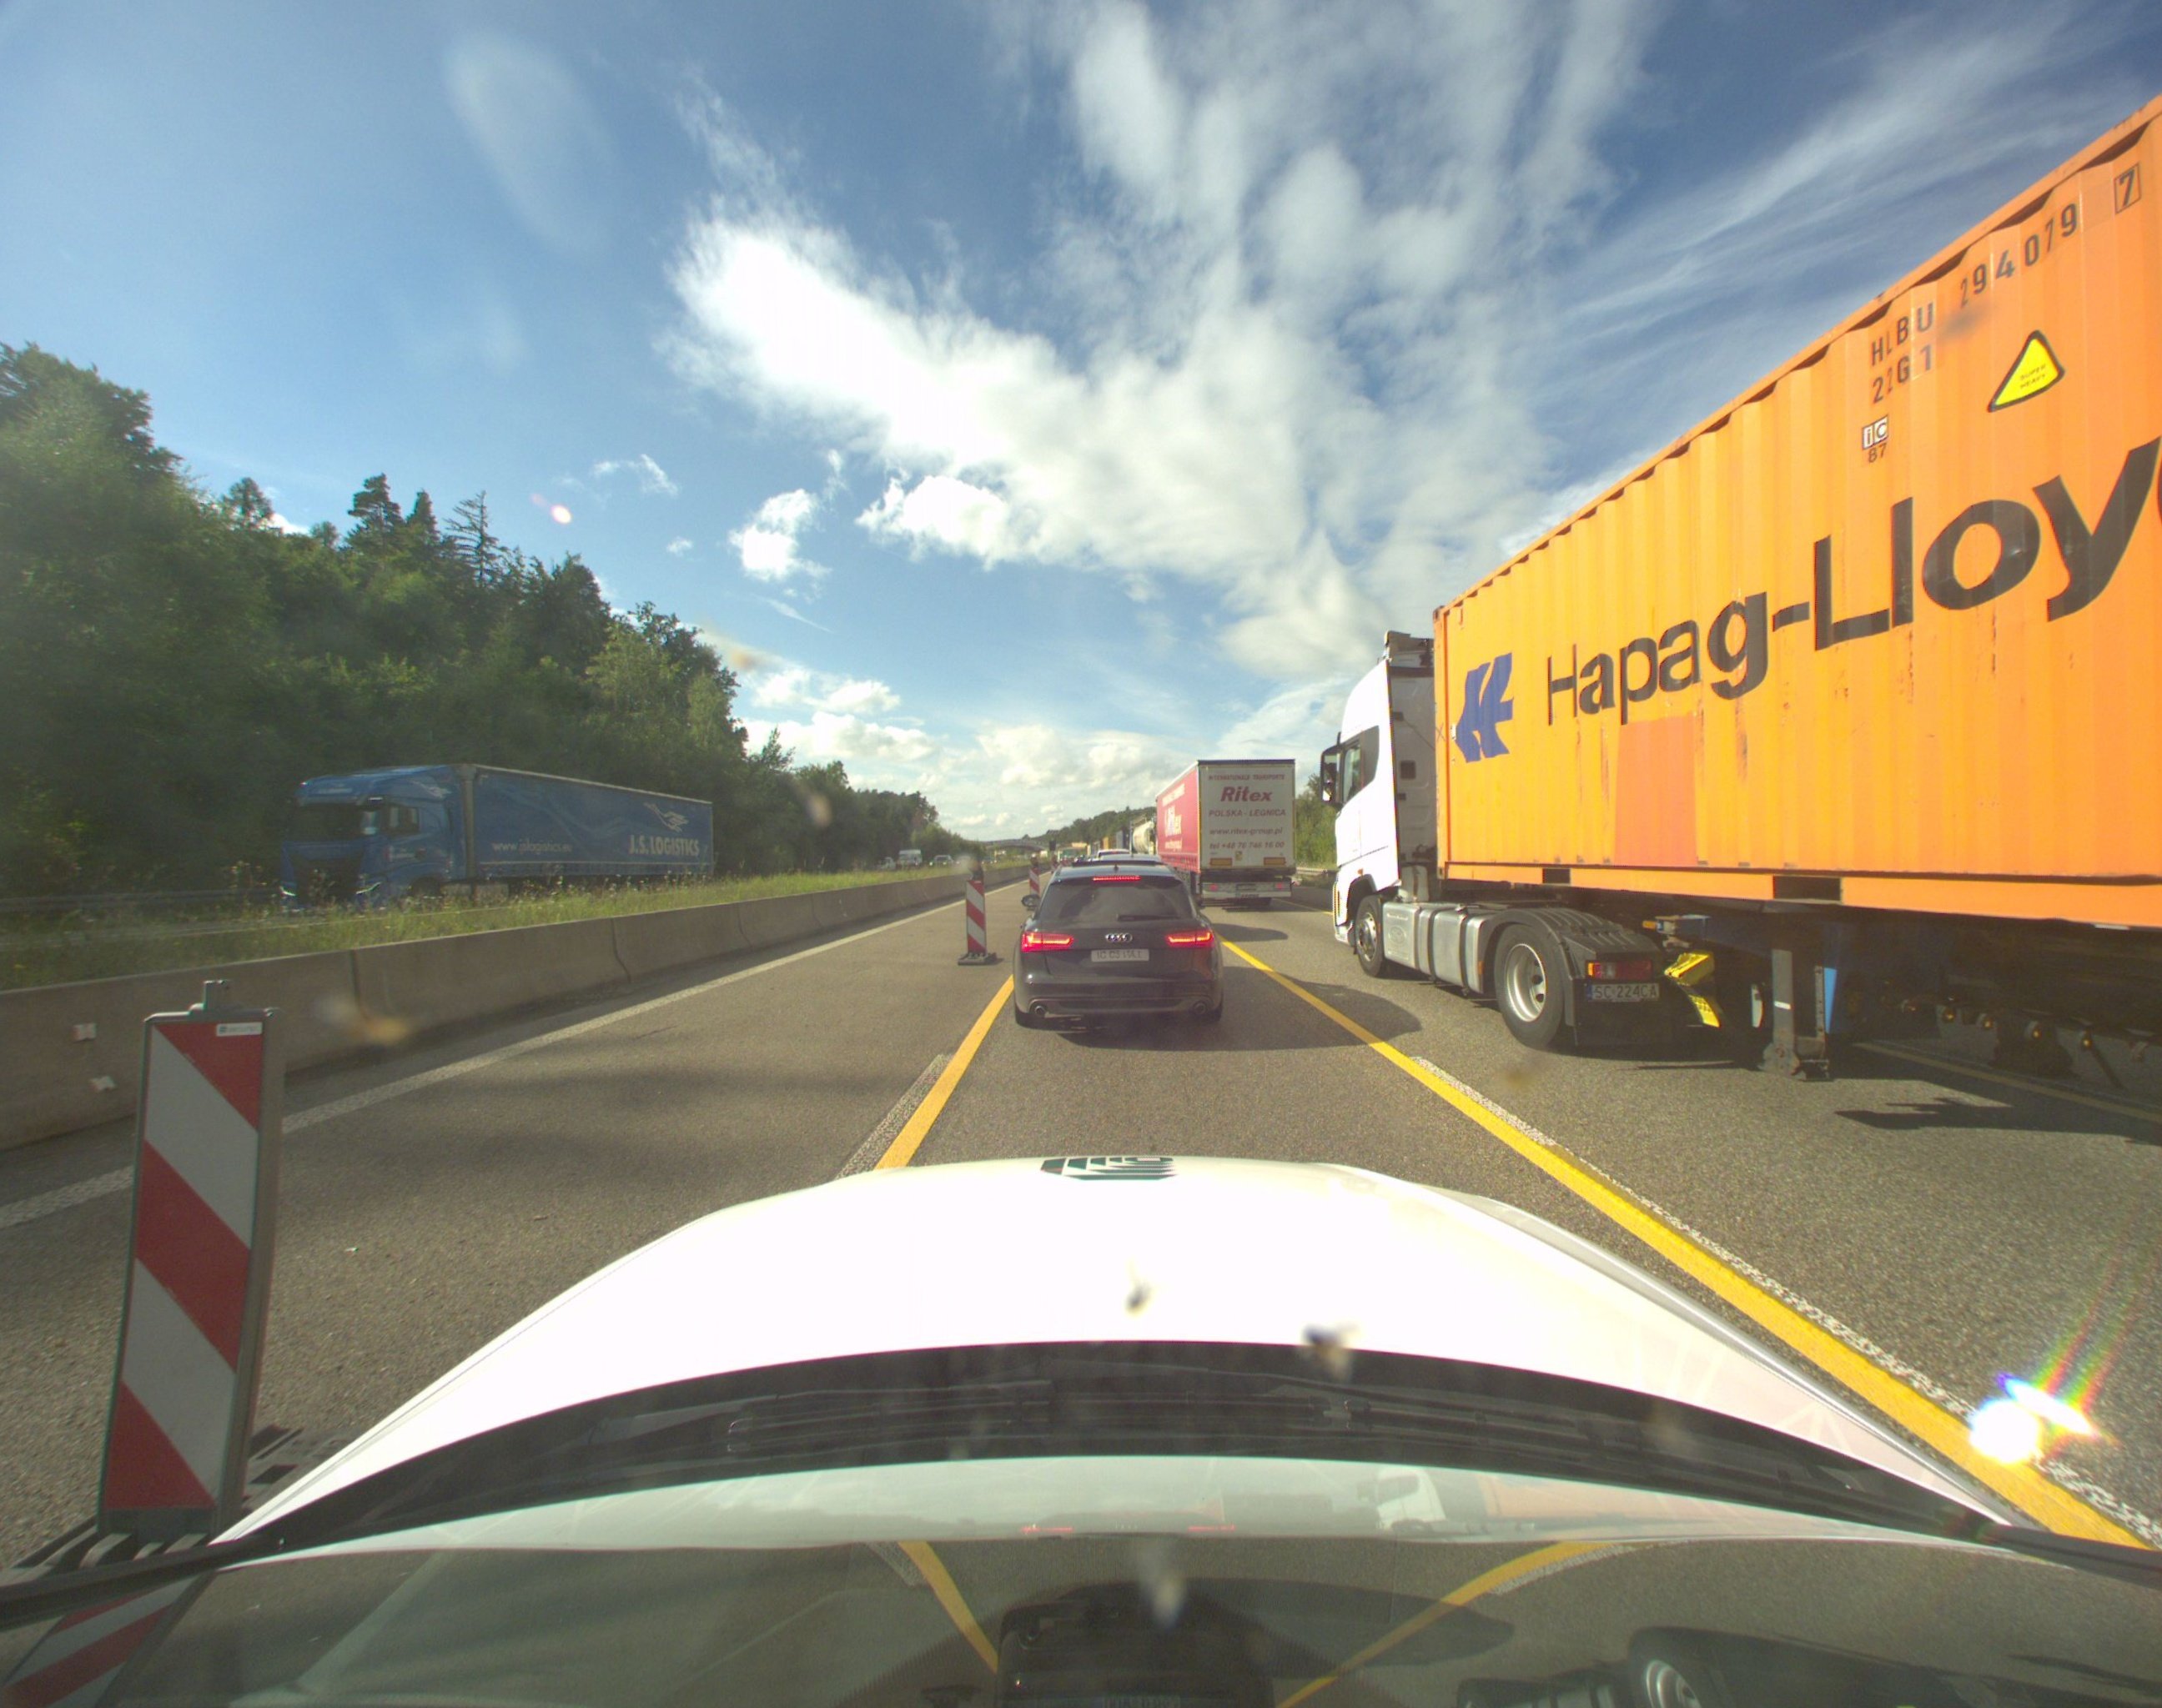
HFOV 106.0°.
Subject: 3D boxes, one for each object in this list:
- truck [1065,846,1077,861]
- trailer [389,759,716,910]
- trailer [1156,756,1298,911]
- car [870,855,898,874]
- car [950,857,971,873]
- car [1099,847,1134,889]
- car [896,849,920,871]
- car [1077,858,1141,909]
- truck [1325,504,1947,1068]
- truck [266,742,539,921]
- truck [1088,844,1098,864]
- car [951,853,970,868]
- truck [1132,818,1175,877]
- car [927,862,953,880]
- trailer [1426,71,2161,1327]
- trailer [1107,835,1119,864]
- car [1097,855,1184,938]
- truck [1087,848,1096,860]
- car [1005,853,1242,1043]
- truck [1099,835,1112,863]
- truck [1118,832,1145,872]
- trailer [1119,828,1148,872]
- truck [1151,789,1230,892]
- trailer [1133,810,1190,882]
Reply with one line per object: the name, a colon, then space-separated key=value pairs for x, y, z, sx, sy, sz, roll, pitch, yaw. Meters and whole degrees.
truck: x=-3.085 y=-0.078 z=247.739 sx=3.298 sy=4.175 sz=9.687 roll=-2 pitch=-1 yaw=-4
trailer: x=-17.559 y=-0.531 z=29.123 sx=2.610 sy=4.141 sz=13.378 roll=-1 pitch=0 yaw=2
trailer: x=4.370 y=-0.512 z=27.698 sx=2.690 sy=3.969 sz=13.420 roll=-1 pitch=0 yaw=1
car: x=-21.338 y=1.162 z=88.280 sx=1.986 sy=2.014 sz=4.001 roll=0 pitch=-1 yaw=2
car: x=-13.971 y=1.262 z=94.477 sx=1.792 sy=1.849 sz=3.812 roll=0 pitch=-1 yaw=2
car: x=1.621 y=0.635 z=37.544 sx=1.575 sy=1.837 sz=3.113 roll=0 pitch=-1 yaw=2
car: x=-20.830 y=0.735 z=98.141 sx=2.247 sy=2.643 sz=5.009 roll=0 pitch=-1 yaw=-6
car: x=0.821 y=0.821 z=24.134 sx=1.745 sy=1.397 sz=3.609 roll=0 pitch=-1 yaw=2
truck: x=4.594 y=-0.448 z=8.376 sx=2.486 sy=3.780 sz=5.790 roll=-1 pitch=0 yaw=1
truck: x=-17.794 y=-0.534 z=21.904 sx=2.628 sy=4.189 sz=5.469 roll=-1 pitch=0 yaw=2
truck: x=2.661 y=0.039 z=180.962 sx=2.130 sy=4.257 sz=7.073 roll=0 pitch=-1 yaw=1
car: x=-17.167 y=0.947 z=116.413 sx=1.986 sy=2.013 sz=4.002 roll=-1 pitch=0 yaw=2
truck: x=4.997 y=-0.401 z=57.213 sx=2.649 sy=3.972 sz=5.780 roll=0 pitch=-1 yaw=2
car: x=-13.374 y=1.605 z=77.506 sx=1.709 sy=1.706 sz=3.524 roll=0 pitch=-1 yaw=2
trailer: x=4.474 y=-0.470 z=1.782 sx=2.463 sy=3.775 sz=12.137 roll=-1 pitch=0 yaw=1
trailer: x=4.435 y=-0.554 z=114.194 sx=1.611 sy=3.918 sz=6.490 roll=0 pitch=-1 yaw=1
car: x=1.088 y=0.753 z=15.812 sx=1.518 sy=1.439 sz=3.286 roll=0 pitch=-1 yaw=2
truck: x=3.165 y=-0.057 z=246.986 sx=2.558 sy=3.466 sz=7.398 roll=0 pitch=-1 yaw=0
car: x=0.393 y=0.759 z=8.402 sx=1.842 sy=1.463 sz=4.001 roll=-1 pitch=-1 yaw=2
truck: x=4.426 y=-0.792 z=147.669 sx=1.987 sy=4.914 sz=9.562 roll=-1 pitch=0 yaw=0
truck: x=5.690 y=-0.137 z=93.221 sx=2.795 sy=4.370 sz=7.794 roll=0 pitch=-1 yaw=2
trailer: x=5.506 y=-0.332 z=87.193 sx=2.795 sy=4.413 sz=10.436 roll=0 pitch=-1 yaw=2
truck: x=4.514 y=-0.526 z=34.574 sx=2.658 sy=3.959 sz=5.711 roll=-1 pitch=0 yaw=1
trailer: x=4.796 y=-0.404 z=50.751 sx=2.634 sy=3.943 sz=12.602 roll=0 pitch=0 yaw=2
